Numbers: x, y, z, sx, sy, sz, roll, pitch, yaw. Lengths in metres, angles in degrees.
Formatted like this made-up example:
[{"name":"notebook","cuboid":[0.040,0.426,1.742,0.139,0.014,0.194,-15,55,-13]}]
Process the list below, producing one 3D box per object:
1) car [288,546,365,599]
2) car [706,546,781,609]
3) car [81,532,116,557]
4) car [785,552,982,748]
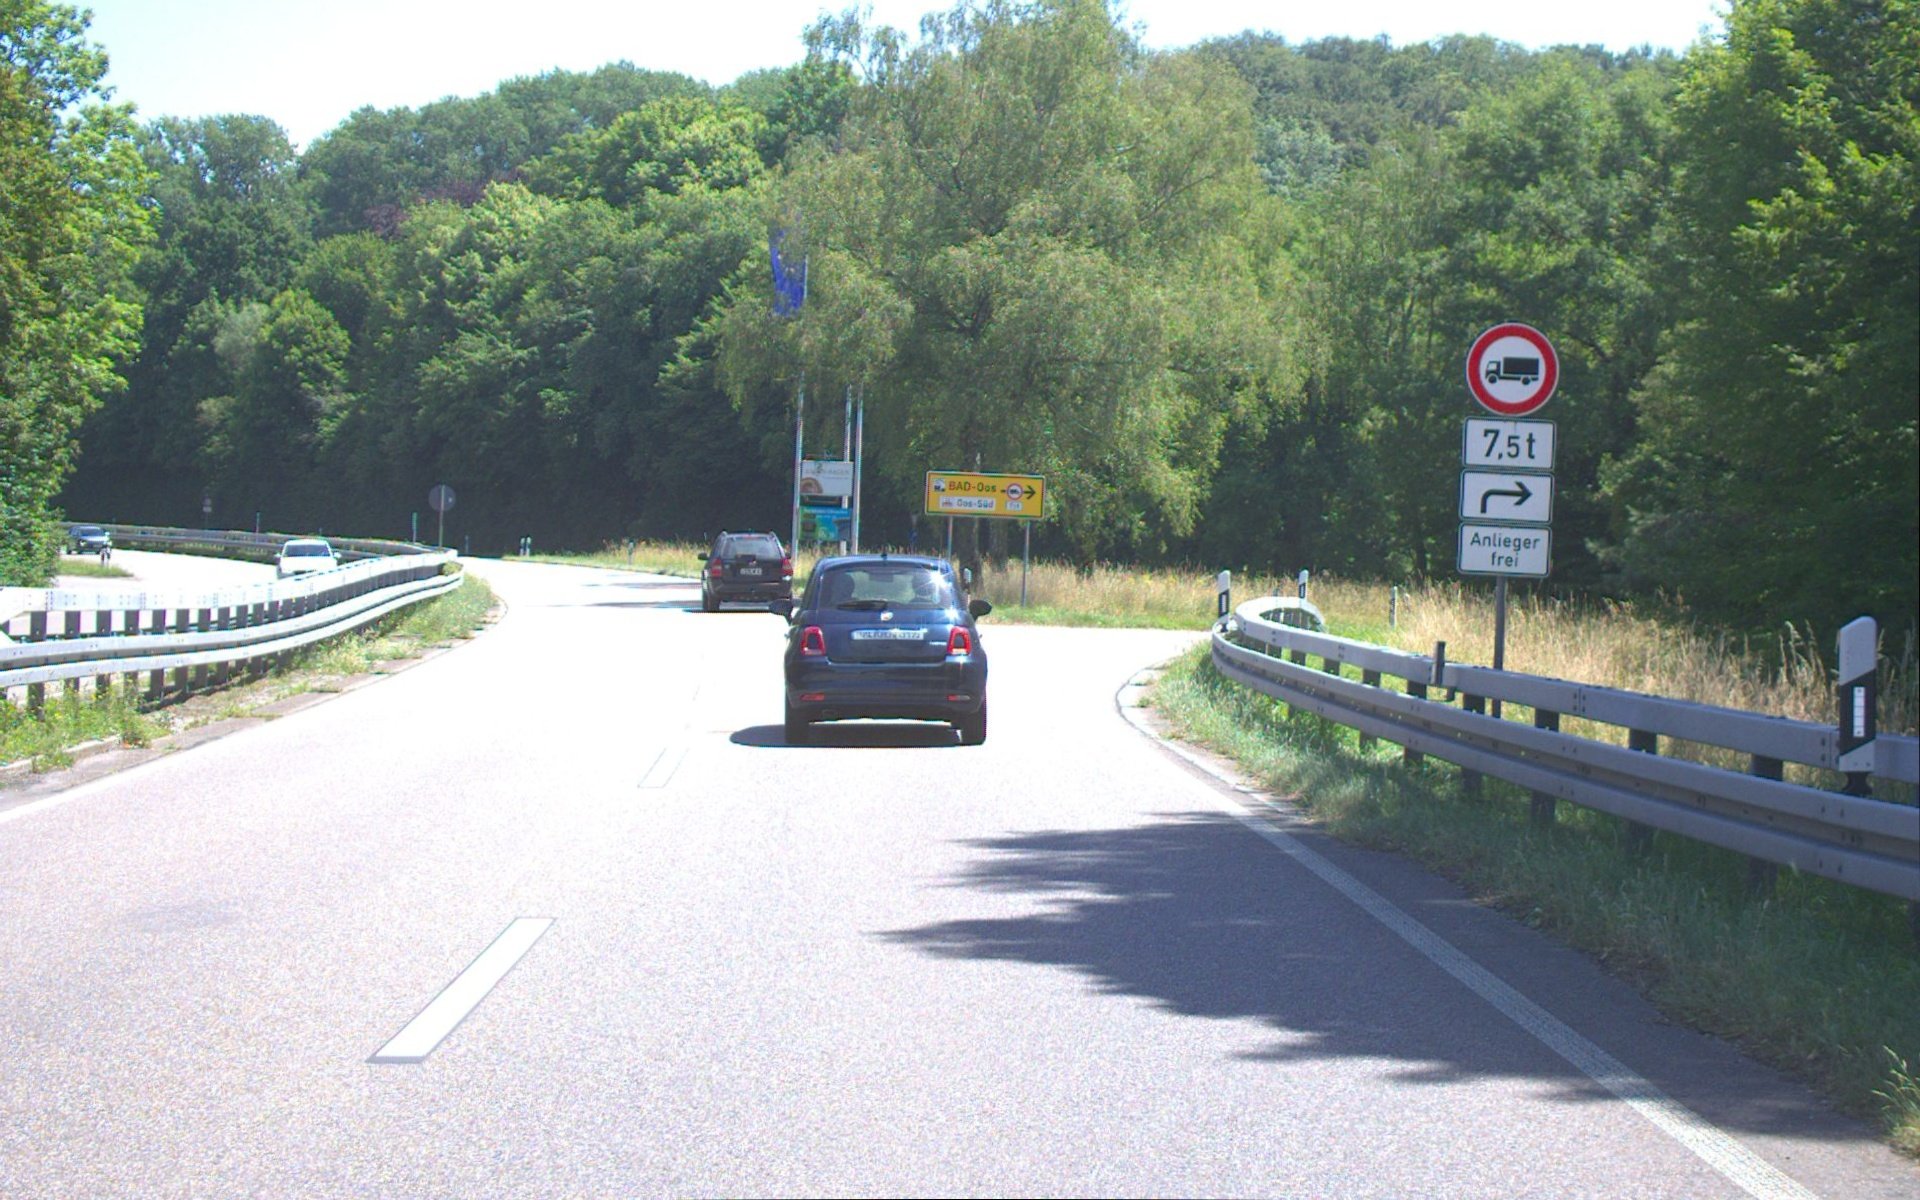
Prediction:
[{"name":"car","cuboid":[-19.259,-0.863,104.690,1.755,1.567,4.414,0,1,-3]},{"name":"car","cuboid":[-4.657,-0.503,73.684,1.525,1.309,3.415,0,1,-5]},{"name":"car","cuboid":[-47.541,-3.079,189.703,1.440,1.376,3.850,0,1,-20]},{"name":"car","cuboid":[-0.606,0.361,28.287,1.513,1.496,3.590,0,1,0]}]
